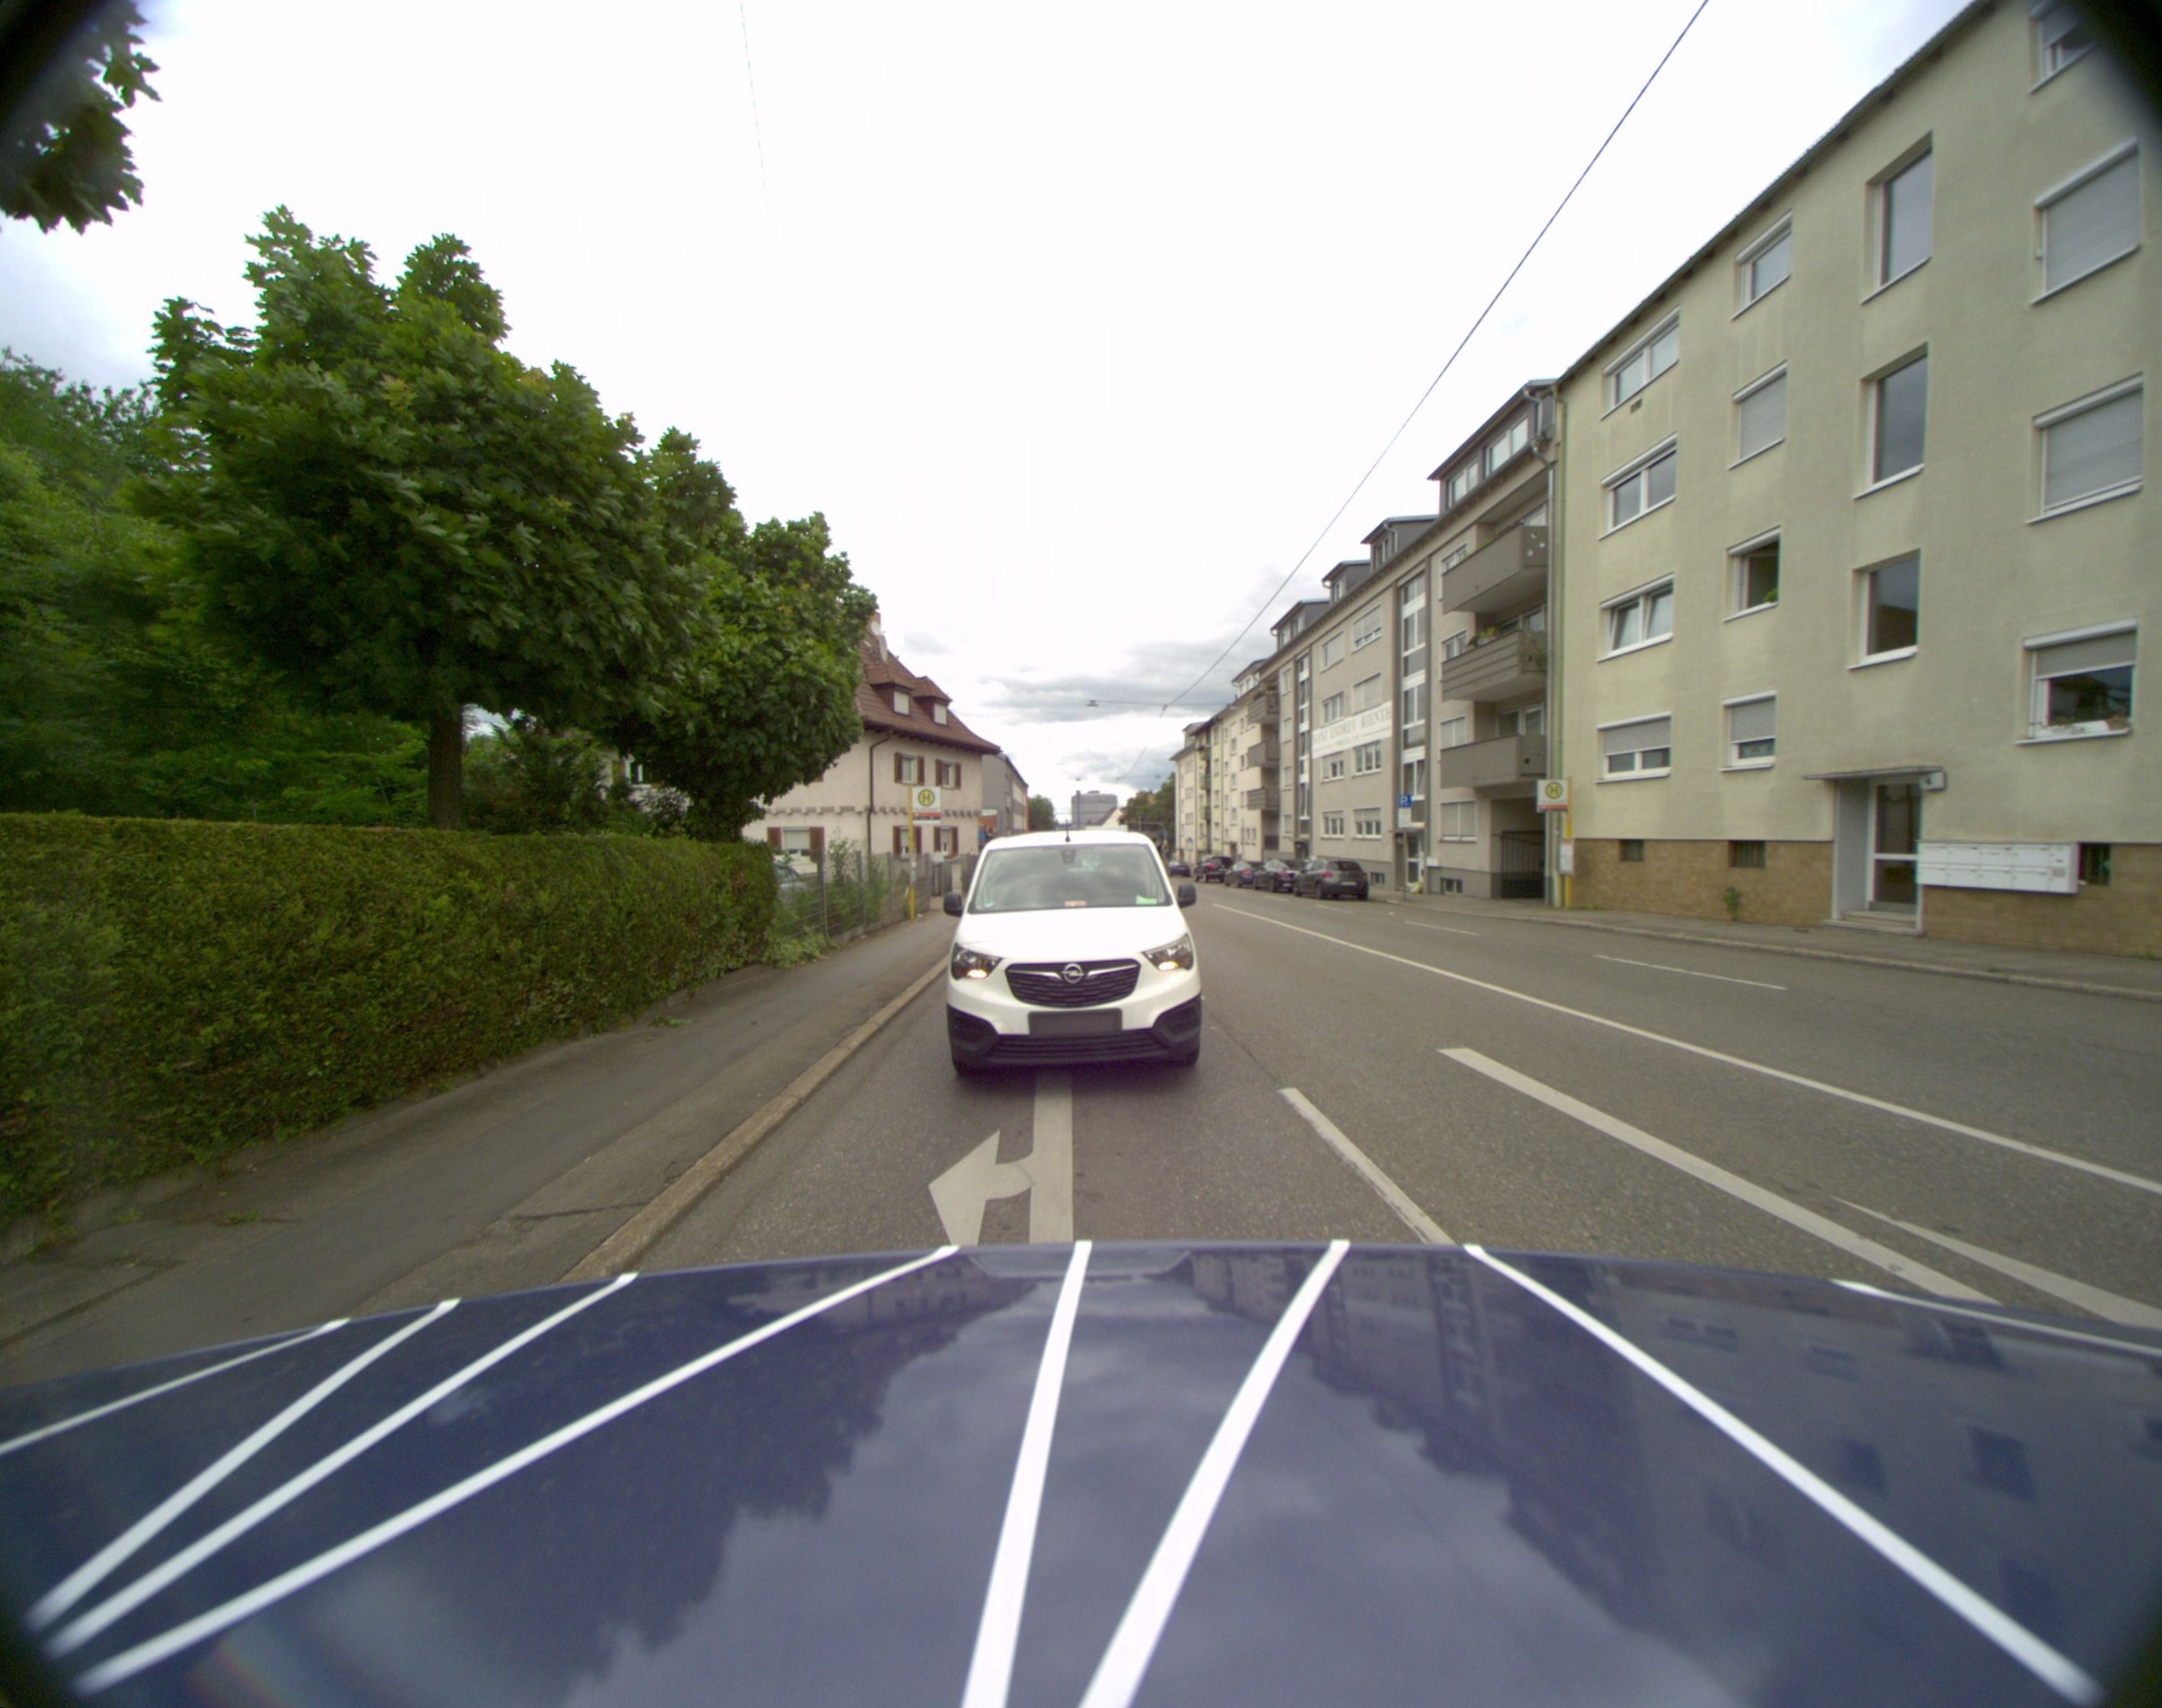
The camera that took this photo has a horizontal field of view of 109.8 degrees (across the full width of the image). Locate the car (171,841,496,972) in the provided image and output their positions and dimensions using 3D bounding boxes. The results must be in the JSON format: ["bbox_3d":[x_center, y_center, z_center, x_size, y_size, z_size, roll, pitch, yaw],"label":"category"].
[{"bbox_3d":[-13.410,0.797,13.828,1.994,2.002,4.008,-1,0,40],"label":"car"}]

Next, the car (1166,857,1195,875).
[{"bbox_3d":[8.449,0.992,64.818,1.875,1.372,4.307,1,0,0],"label":"car"}]

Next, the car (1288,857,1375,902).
[{"bbox_3d":[9.022,0.874,27.687,1.773,1.428,3.800,1,0,-2],"label":"car"}]

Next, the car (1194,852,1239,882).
[{"bbox_3d":[8.509,0.806,48.073,1.875,1.743,4.306,1,0,-2],"label":"car"}]

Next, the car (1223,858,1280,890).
[{"bbox_3d":[8.605,0.973,38.671,1.773,1.397,4.306,1,0,-2],"label":"car"}]

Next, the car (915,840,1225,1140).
[{"bbox_3d":[-0.118,0.808,6.612,1.803,1.735,3.999,-3,1,-2],"label":"car"}]

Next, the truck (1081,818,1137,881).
[{"bbox_3d":[1.622,-0.233,47.725,2.776,3.554,8.062,-2,0,-3],"label":"truck"}]

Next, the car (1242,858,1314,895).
[{"bbox_3d":[8.498,0.926,33.260,1.773,1.397,4.717,1,0,-2],"label":"car"}]
